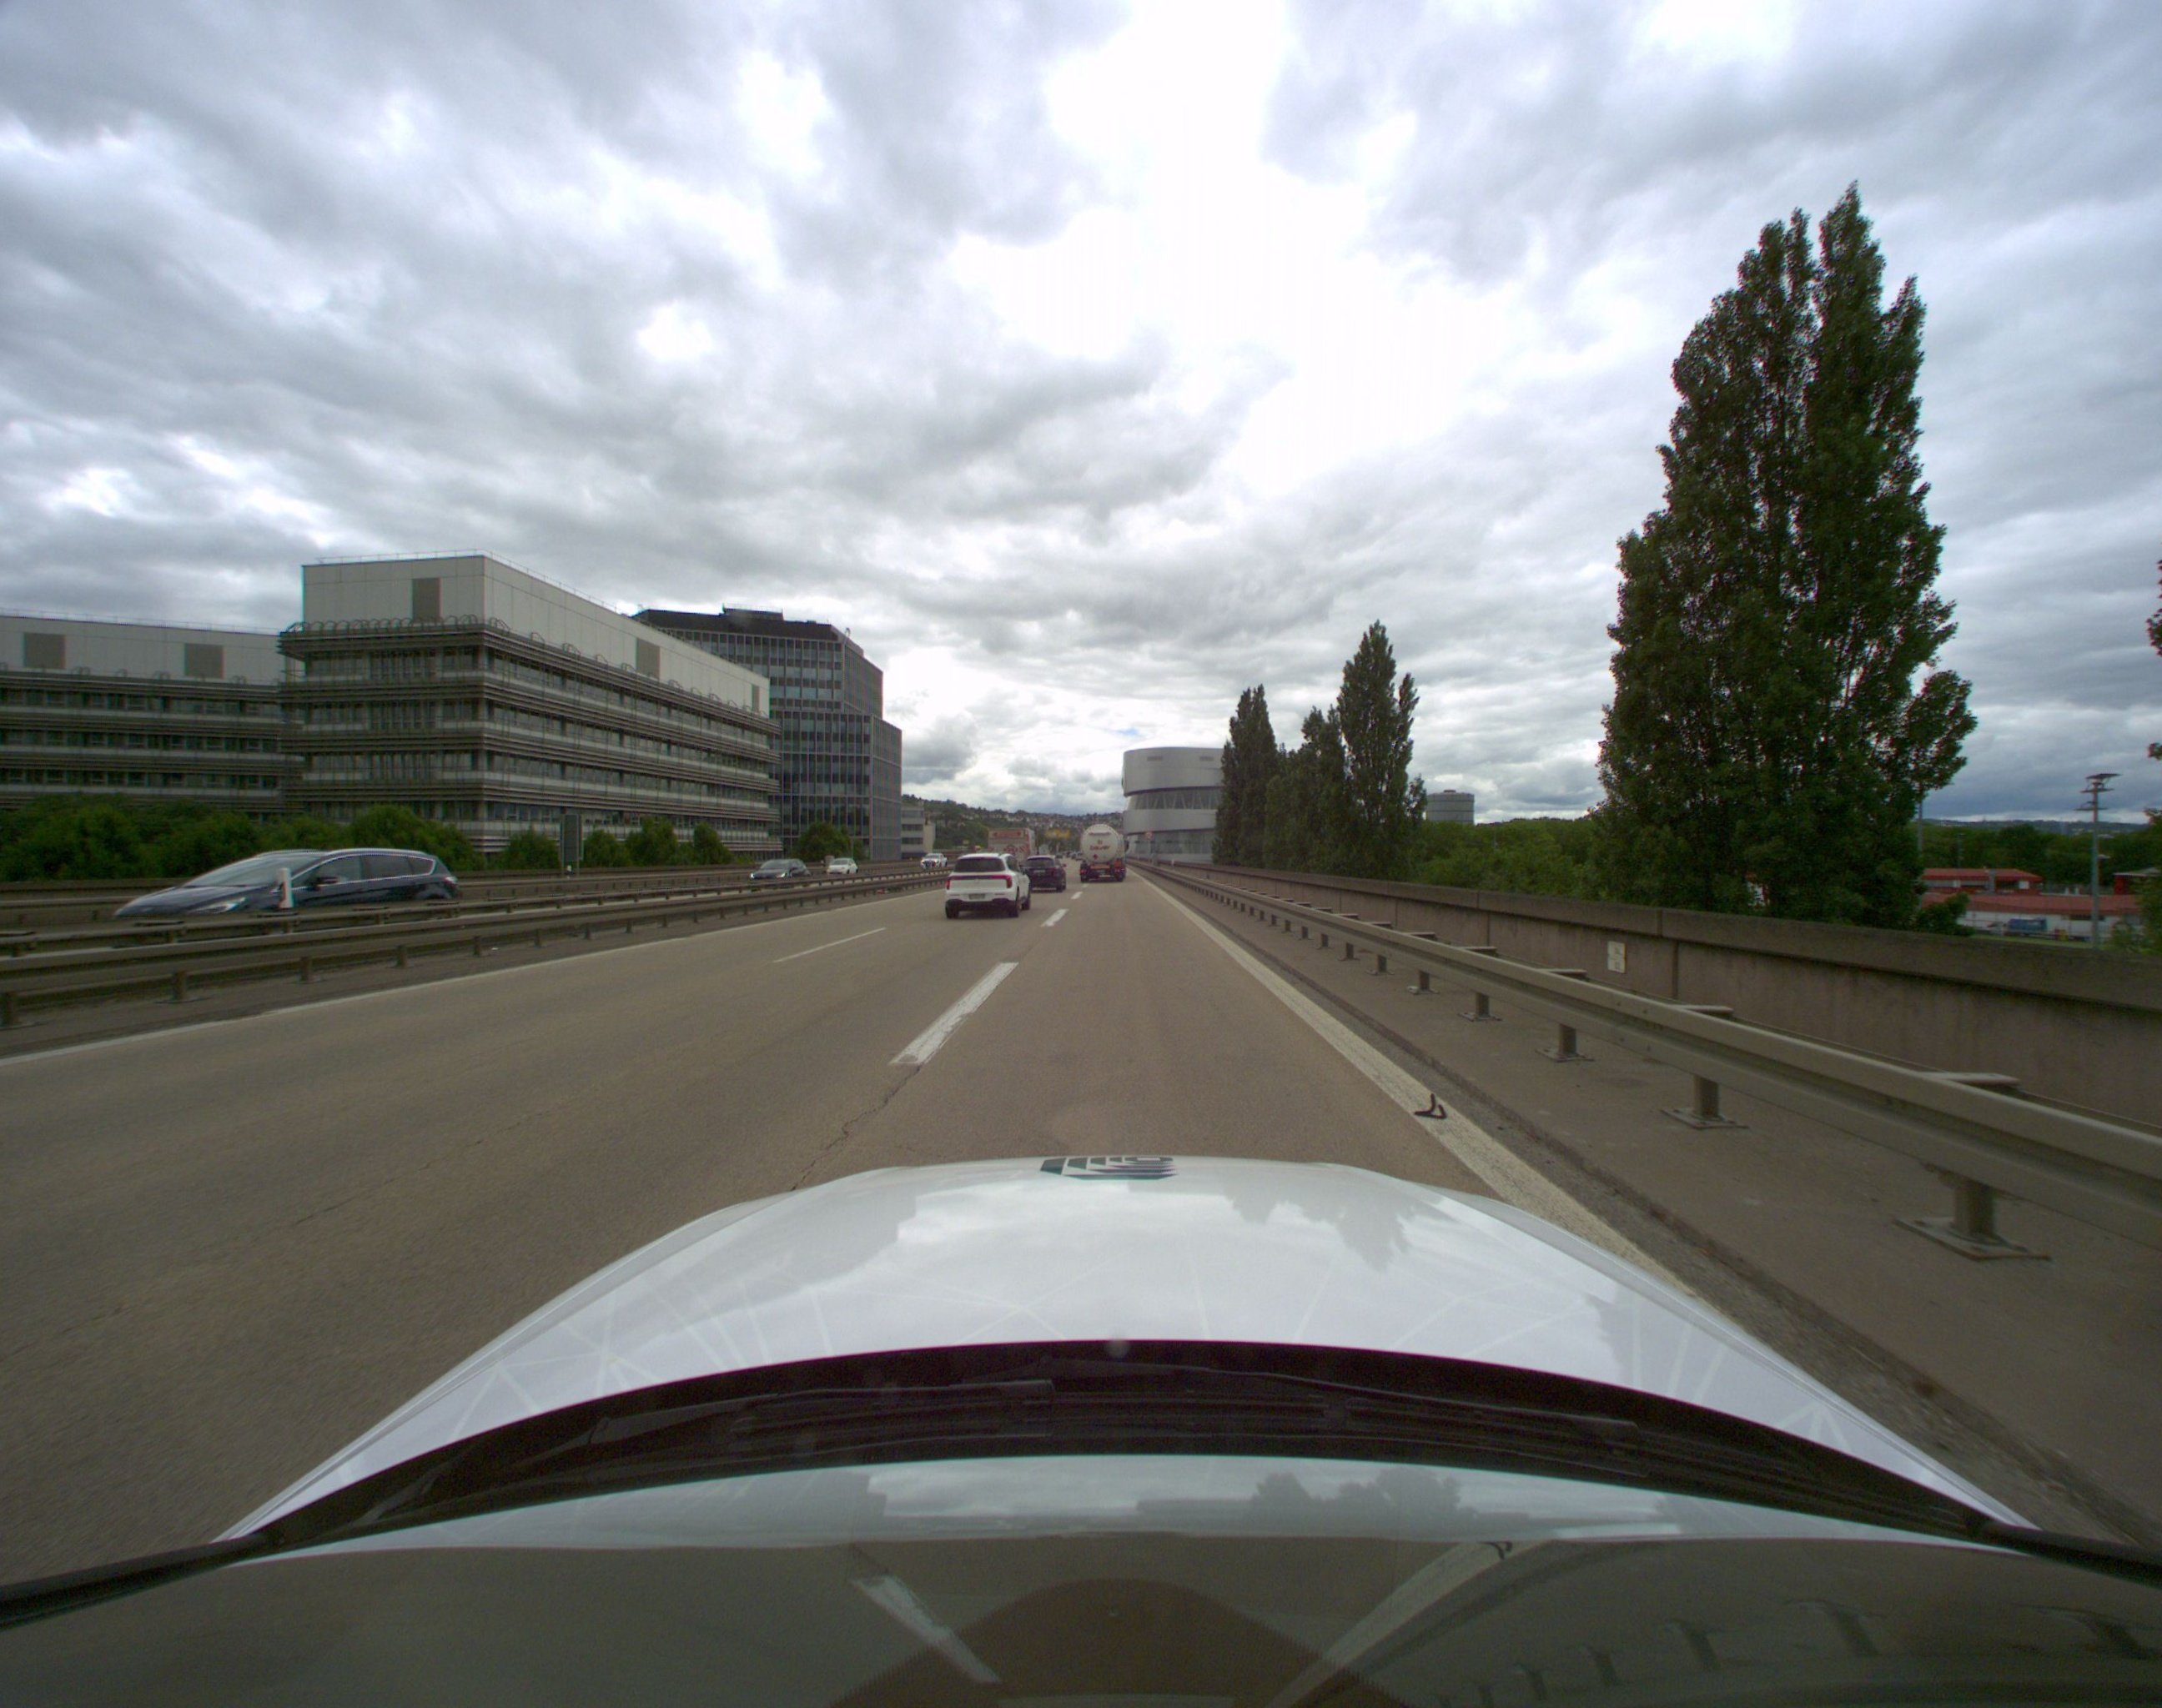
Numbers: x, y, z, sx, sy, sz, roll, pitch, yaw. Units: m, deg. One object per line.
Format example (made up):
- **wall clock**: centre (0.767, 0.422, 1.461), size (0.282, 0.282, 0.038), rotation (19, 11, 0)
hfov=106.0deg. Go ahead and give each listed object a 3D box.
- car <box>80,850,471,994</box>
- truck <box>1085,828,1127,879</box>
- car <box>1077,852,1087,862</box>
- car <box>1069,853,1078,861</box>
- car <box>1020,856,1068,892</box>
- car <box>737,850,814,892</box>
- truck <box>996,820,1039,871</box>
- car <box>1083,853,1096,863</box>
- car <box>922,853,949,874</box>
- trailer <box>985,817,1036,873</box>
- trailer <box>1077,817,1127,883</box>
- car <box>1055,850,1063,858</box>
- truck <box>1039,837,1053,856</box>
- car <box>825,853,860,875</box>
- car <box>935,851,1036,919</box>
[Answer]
- **car**: centre (-13.256, 0.975, 13.943), size (1.986, 2.013, 4.554), rotation (-2, 0, 2)
- **truck**: centre (1.884, -0.057, 58.960), size (2.757, 3.430, 5.970), rotation (-2, 0, 3)
- **car**: centre (0.162, 0.677, 167.017), size (1.988, 2.013, 3.997), rotation (-2, 0, -2)
- **car**: centre (-1.872, 0.701, 190.842), size (1.988, 2.013, 3.997), rotation (-2, 0, -2)
- **car**: centre (-1.604, 0.884, 36.963), size (1.839, 1.505, 4.267), rotation (1, 0, 2)
- **car**: centre (-14.042, 0.753, 37.688), size (1.987, 1.793, 4.000), rotation (-2, 0, 1)
- **truck**: centre (-4.802, -0.634, 62.211), size (2.681, 3.690, 4.441), rotation (-2, 0, 2)
- **car**: centre (1.469, 0.672, 134.758), size (1.987, 1.538, 4.000), rotation (6, -1, 1)
- **car**: centre (-14.884, 0.963, 83.402), size (1.987, 2.013, 4.000), rotation (-2, 0, 1)
- **trailer**: centre (-4.923, -0.627, 58.034), size (2.680, 3.690, 7.315), rotation (-2, 0, 1)
- **trailer**: centre (1.522, -0.233, 52.444), size (2.780, 3.737, 11.164), rotation (-2, 0, 3)
- **car**: centre (-5.611, -0.006, 211.864), size (1.988, 2.013, 3.997), rotation (-2, 0, -2)
- **truck**: centre (-7.315, -1.601, 171.500), size (2.386, 3.893, 5.945), rotation (-2, 0, 2)
- **car**: centre (-18.941, 0.748, 64.930), size (1.639, 1.661, 3.600), rotation (-2, 0, 1)
- **car**: centre (-2.497, 0.775, 22.513), size (1.985, 1.668, 4.895), rotation (0, 0, 2)
